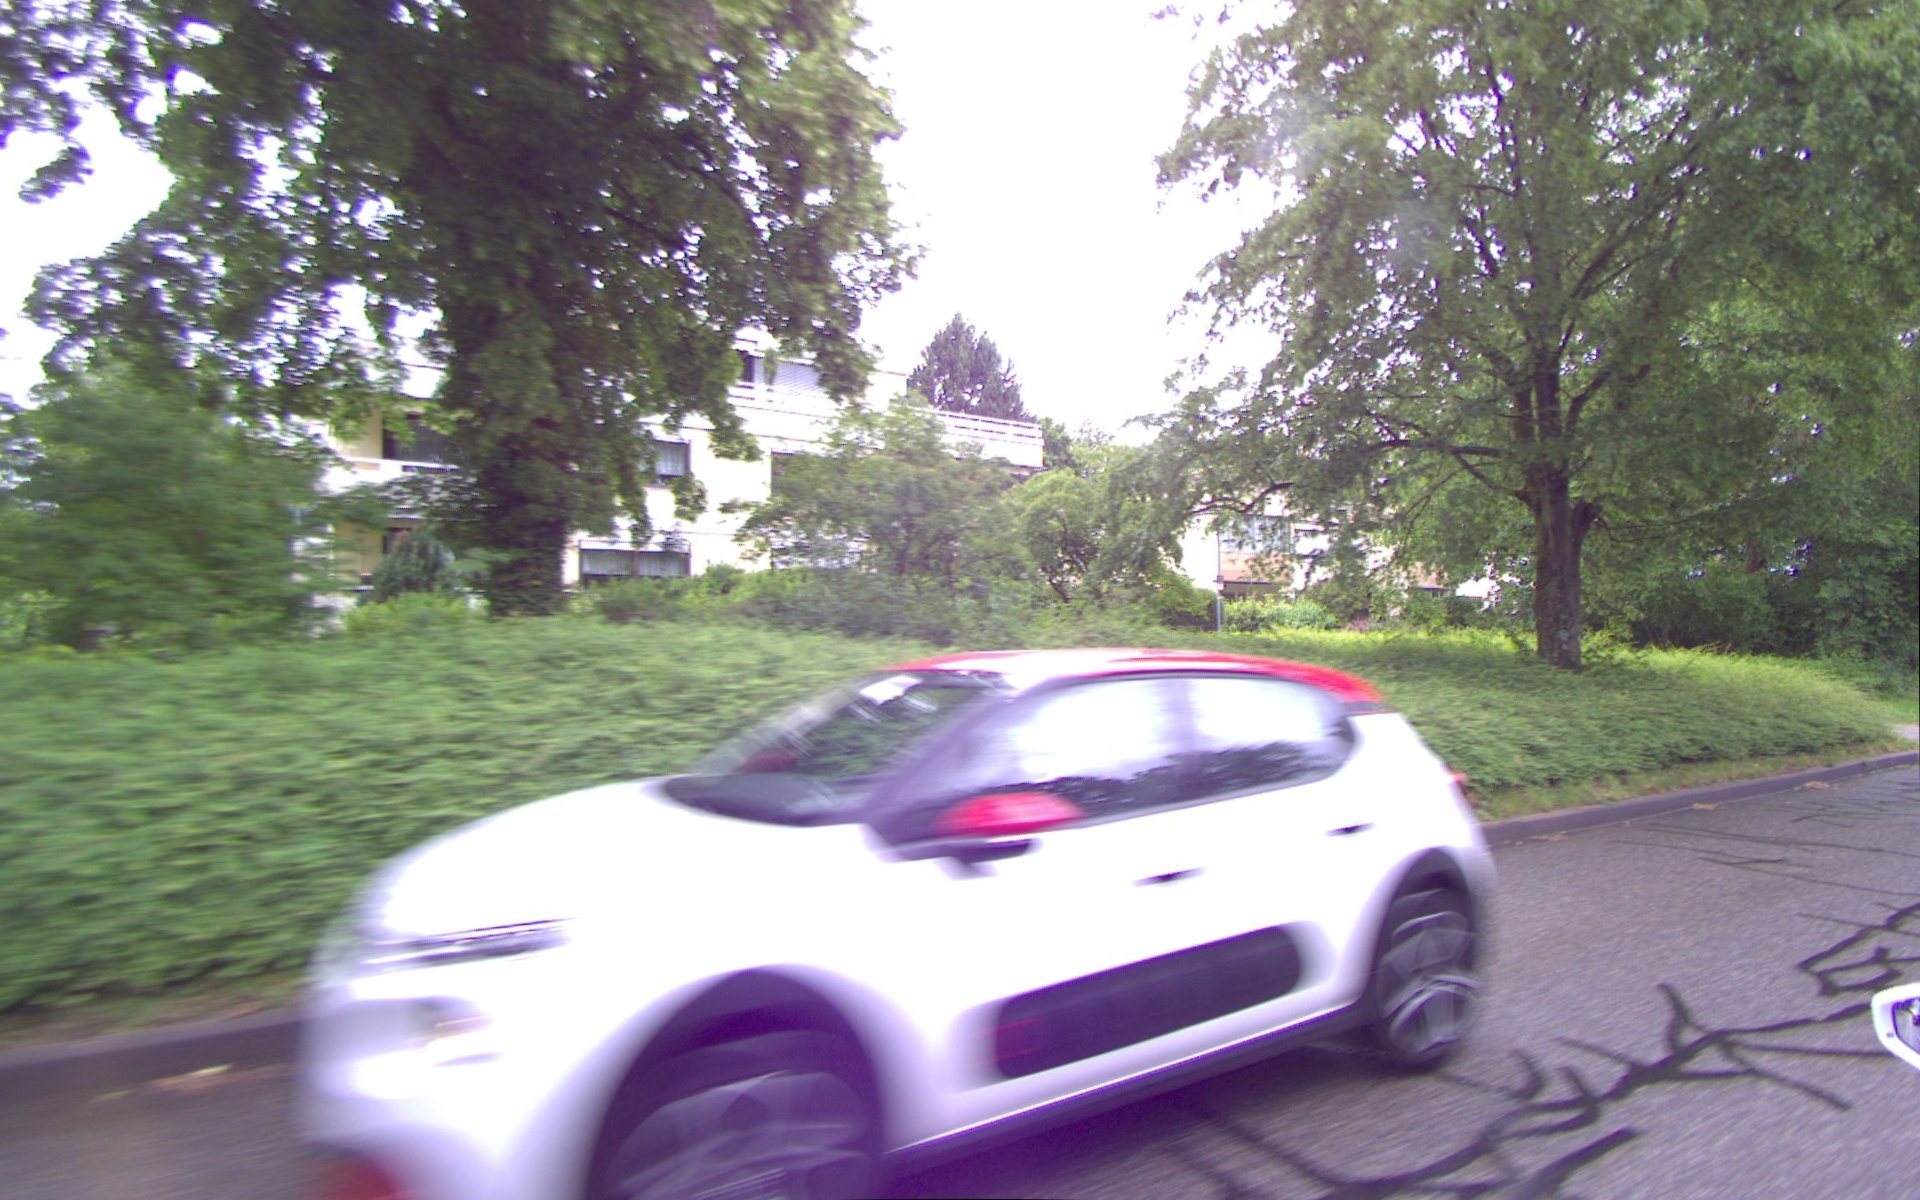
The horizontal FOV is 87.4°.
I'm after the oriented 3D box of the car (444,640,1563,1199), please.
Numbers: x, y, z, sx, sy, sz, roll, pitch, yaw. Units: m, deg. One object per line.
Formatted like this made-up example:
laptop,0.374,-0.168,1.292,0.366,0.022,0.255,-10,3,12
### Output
car,0.293,0.937,3.590,3.690,1.496,1.657,1,-4,-32
